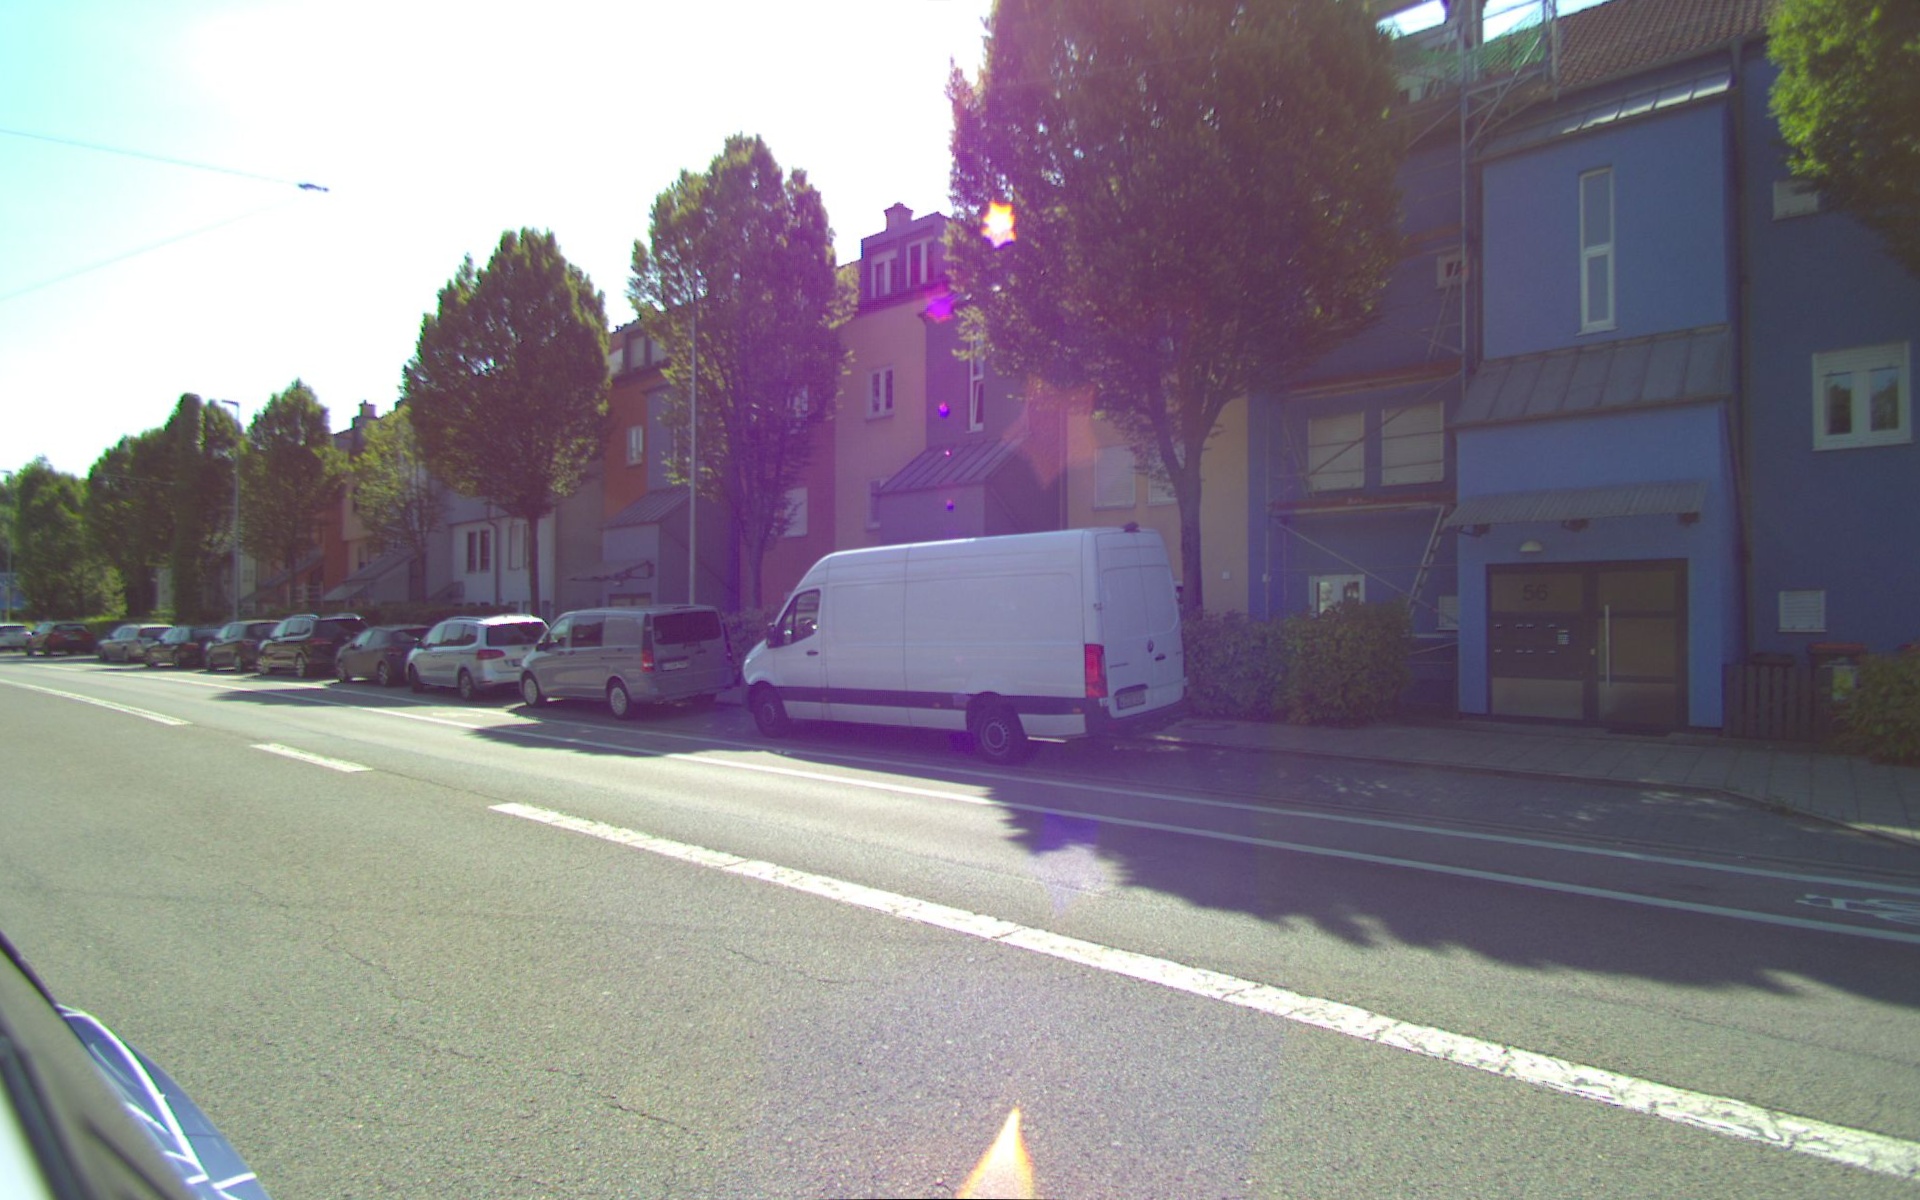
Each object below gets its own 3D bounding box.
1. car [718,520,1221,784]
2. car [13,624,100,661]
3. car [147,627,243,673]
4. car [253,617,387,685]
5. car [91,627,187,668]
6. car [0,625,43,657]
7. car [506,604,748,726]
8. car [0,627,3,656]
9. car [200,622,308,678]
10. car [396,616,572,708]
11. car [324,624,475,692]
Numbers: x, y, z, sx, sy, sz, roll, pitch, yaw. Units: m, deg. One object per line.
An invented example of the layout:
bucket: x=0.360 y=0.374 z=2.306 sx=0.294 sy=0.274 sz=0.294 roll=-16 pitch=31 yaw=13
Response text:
car: x=-0.277 y=0.551 z=13.459 sx=7.084 sy=2.697 sz=1.973 roll=-1 pitch=1 yaw=42
car: x=-41.658 y=1.926 z=46.634 sx=4.920 sy=1.588 sz=1.889 roll=-1 pitch=0 yaw=35
car: x=-27.172 y=1.725 z=35.926 sx=4.207 sy=1.481 sz=1.661 roll=-1 pitch=0 yaw=38
car: x=-18.317 y=1.384 z=28.903 sx=4.343 sy=1.741 sz=1.812 roll=-1 pitch=1 yaw=38
car: x=-32.533 y=1.838 z=40.048 sx=4.826 sy=1.457 sz=1.663 roll=-1 pitch=0 yaw=35
car: x=-48.172 y=2.044 z=50.983 sx=4.123 sy=1.510 sz=2.017 roll=-1 pitch=0 yaw=35
car: x=-6.317 y=1.109 z=18.892 sx=4.964 sy=1.879 sz=1.973 roll=-1 pitch=2 yaw=41
car: x=-52.498 y=2.205 z=53.544 sx=4.206 sy=1.489 sz=1.894 roll=-1 pitch=0 yaw=35
car: x=-22.665 y=1.544 z=32.431 sx=4.159 sy=1.619 sz=1.661 roll=-1 pitch=0 yaw=37
car: x=-10.567 y=1.259 z=22.325 sx=4.539 sy=1.715 sz=1.829 roll=-1 pitch=2 yaw=42
car: x=-14.307 y=1.411 z=25.775 sx=4.069 sy=1.466 sz=1.849 roll=-1 pitch=2 yaw=37
